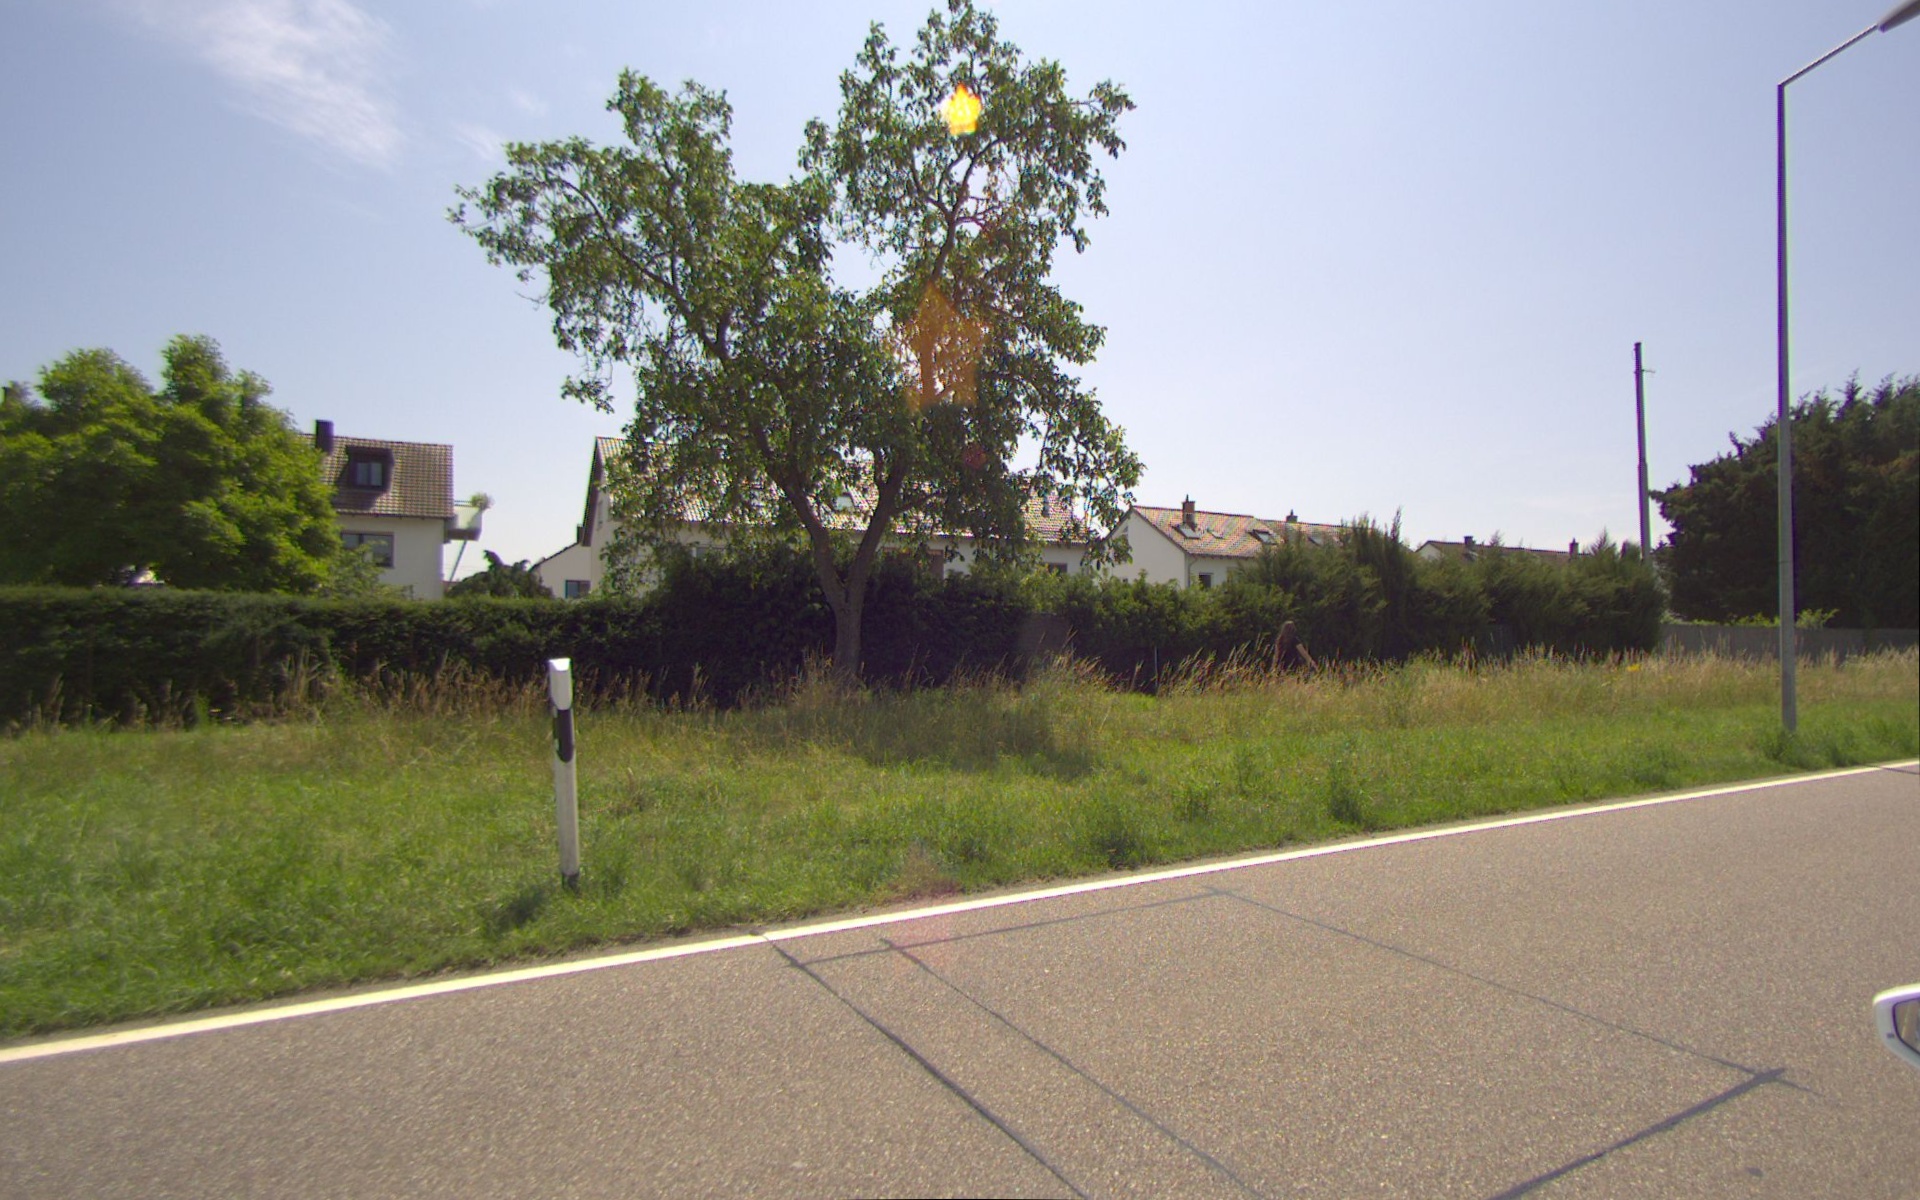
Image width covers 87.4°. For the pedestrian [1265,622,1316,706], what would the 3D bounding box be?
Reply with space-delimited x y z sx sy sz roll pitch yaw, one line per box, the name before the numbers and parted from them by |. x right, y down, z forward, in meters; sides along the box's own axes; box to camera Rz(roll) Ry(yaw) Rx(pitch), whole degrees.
pedestrian | 6.070 1.167 18.457 0.626 1.497 0.606 1 -1 -29
